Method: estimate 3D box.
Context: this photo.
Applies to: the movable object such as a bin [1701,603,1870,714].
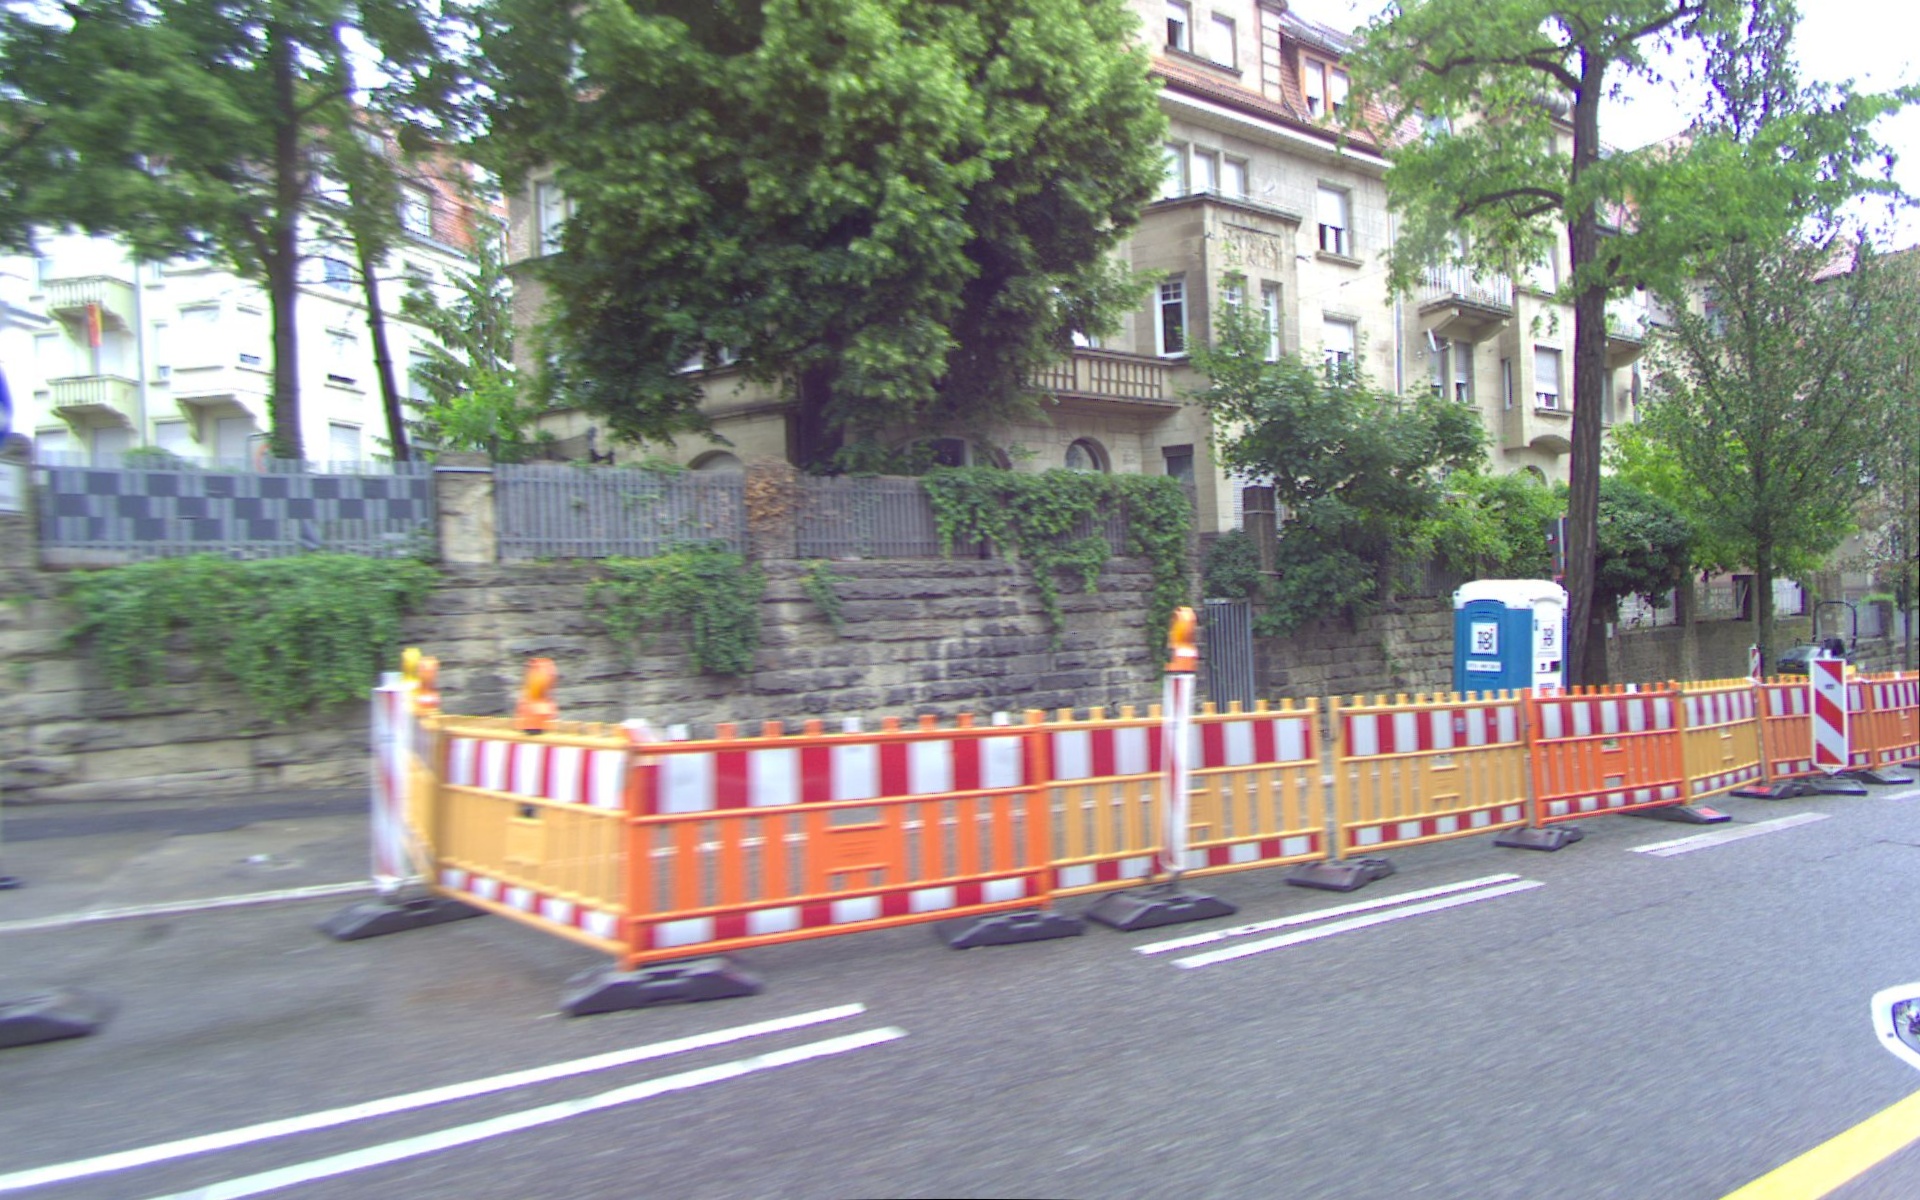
[{"bbox_3d":[18.578,1.278,22.627,2.780,2.329,1.986,1,-2,-28],"label":"movable object such as a bin"}]
